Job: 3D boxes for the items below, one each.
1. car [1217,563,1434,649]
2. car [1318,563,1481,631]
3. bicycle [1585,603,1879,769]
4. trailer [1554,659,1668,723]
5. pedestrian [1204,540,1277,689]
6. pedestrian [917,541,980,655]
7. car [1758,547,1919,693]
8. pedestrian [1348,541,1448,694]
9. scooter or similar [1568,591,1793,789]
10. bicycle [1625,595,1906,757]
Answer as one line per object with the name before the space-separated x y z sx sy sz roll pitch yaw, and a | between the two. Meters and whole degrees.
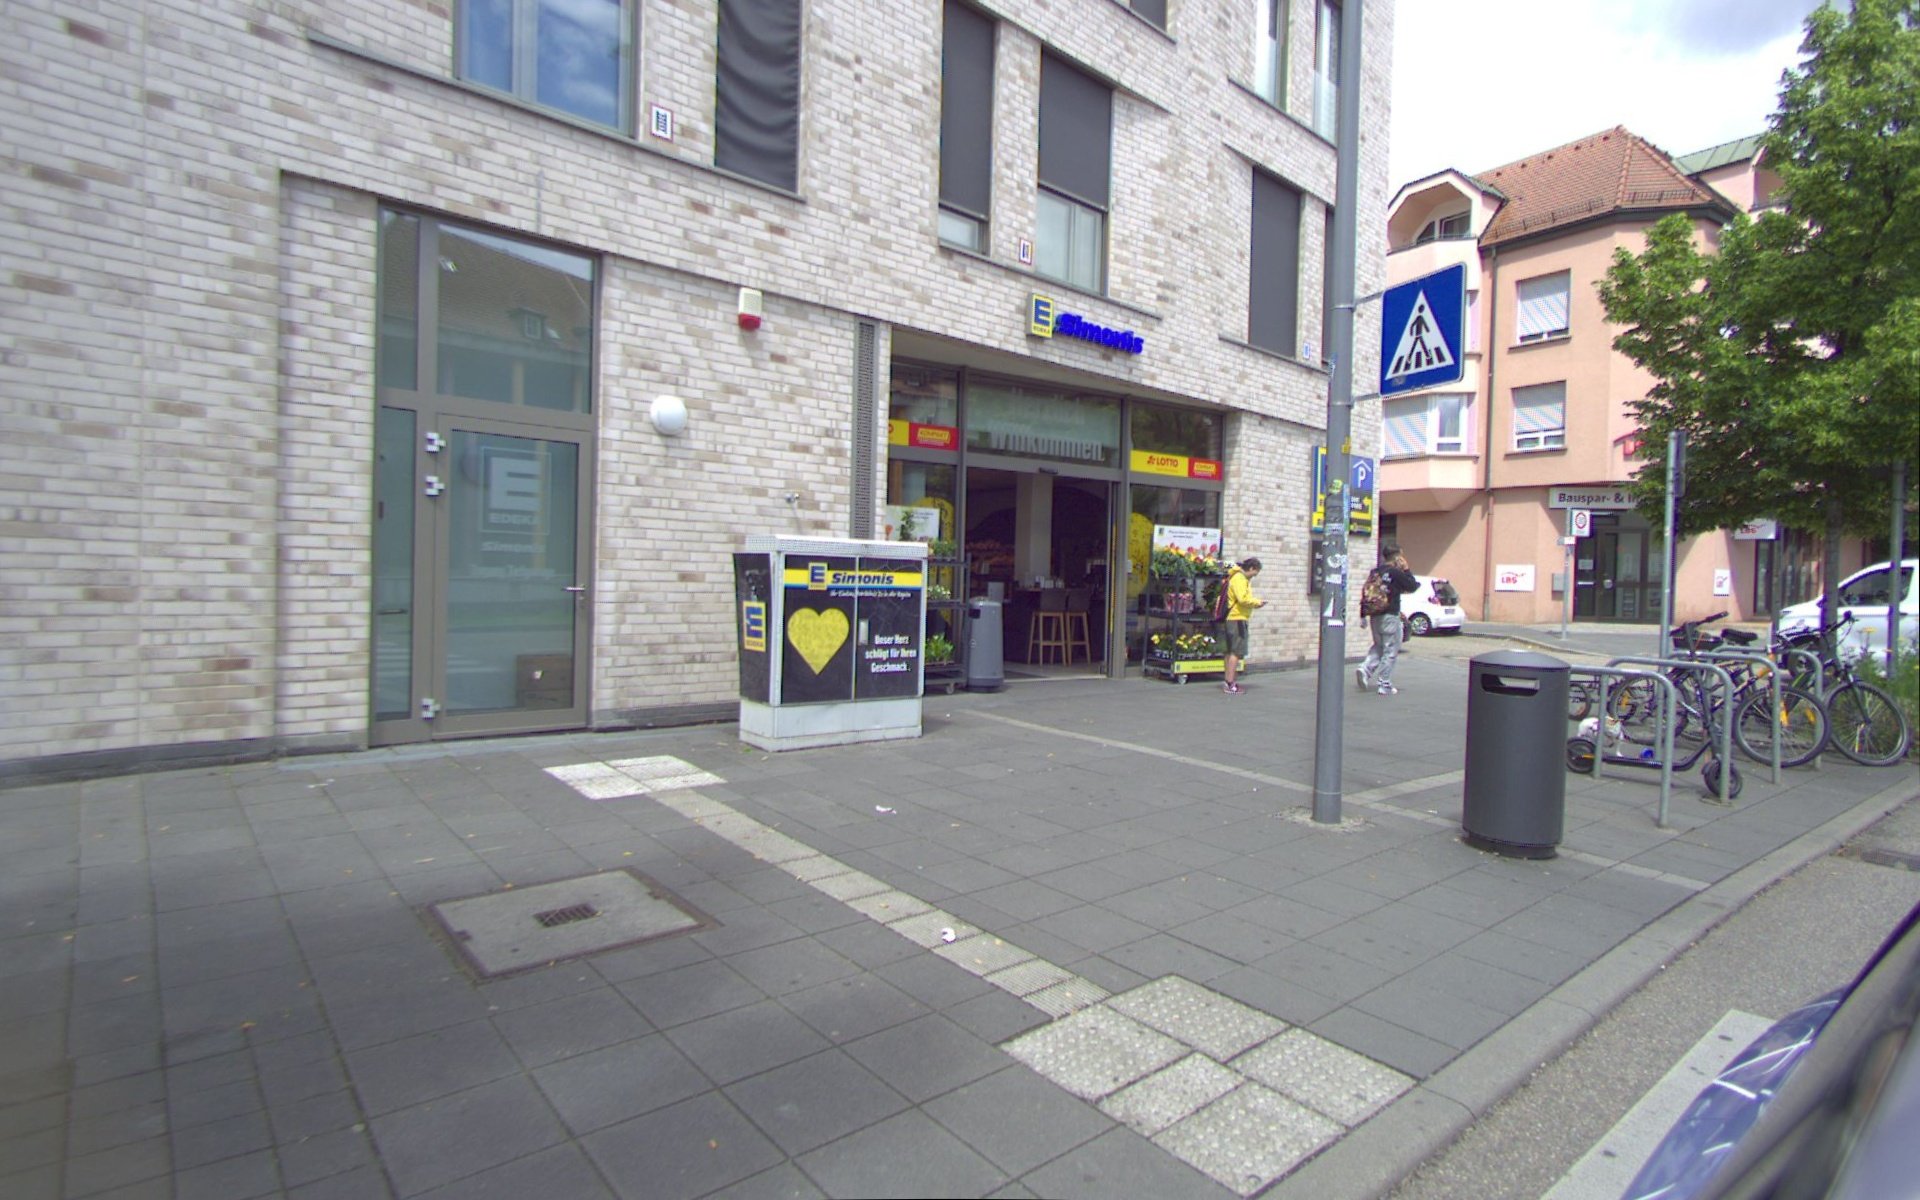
car | 7.528 0.058 21.144 1.750 1.495 3.907 0 4 -37
car | 11.036 -0.127 25.595 1.684 1.495 3.397 0 3 -31
bicycle | 6.537 0.660 8.667 0.742 1.145 1.829 0 3 -36
trailer | 6.677 0.922 10.391 0.796 0.535 0.722 -1 2 -33
pedestrian | 3.328 0.154 12.044 0.619 1.713 0.660 1 2 -3
pedestrian | -0.184 -0.047 15.939 0.726 1.748 0.662 -2 1 -36
car | 14.514 0.279 13.938 1.958 2.039 5.405 0 0 -15
pedestrian | 5.297 0.182 12.243 0.999 1.763 0.659 0 2 -38
scooter or similar | 5.217 0.598 7.387 0.484 1.265 1.200 0 3 -36
bicycle | 7.237 0.618 9.188 0.742 1.215 1.829 0 3 -36
